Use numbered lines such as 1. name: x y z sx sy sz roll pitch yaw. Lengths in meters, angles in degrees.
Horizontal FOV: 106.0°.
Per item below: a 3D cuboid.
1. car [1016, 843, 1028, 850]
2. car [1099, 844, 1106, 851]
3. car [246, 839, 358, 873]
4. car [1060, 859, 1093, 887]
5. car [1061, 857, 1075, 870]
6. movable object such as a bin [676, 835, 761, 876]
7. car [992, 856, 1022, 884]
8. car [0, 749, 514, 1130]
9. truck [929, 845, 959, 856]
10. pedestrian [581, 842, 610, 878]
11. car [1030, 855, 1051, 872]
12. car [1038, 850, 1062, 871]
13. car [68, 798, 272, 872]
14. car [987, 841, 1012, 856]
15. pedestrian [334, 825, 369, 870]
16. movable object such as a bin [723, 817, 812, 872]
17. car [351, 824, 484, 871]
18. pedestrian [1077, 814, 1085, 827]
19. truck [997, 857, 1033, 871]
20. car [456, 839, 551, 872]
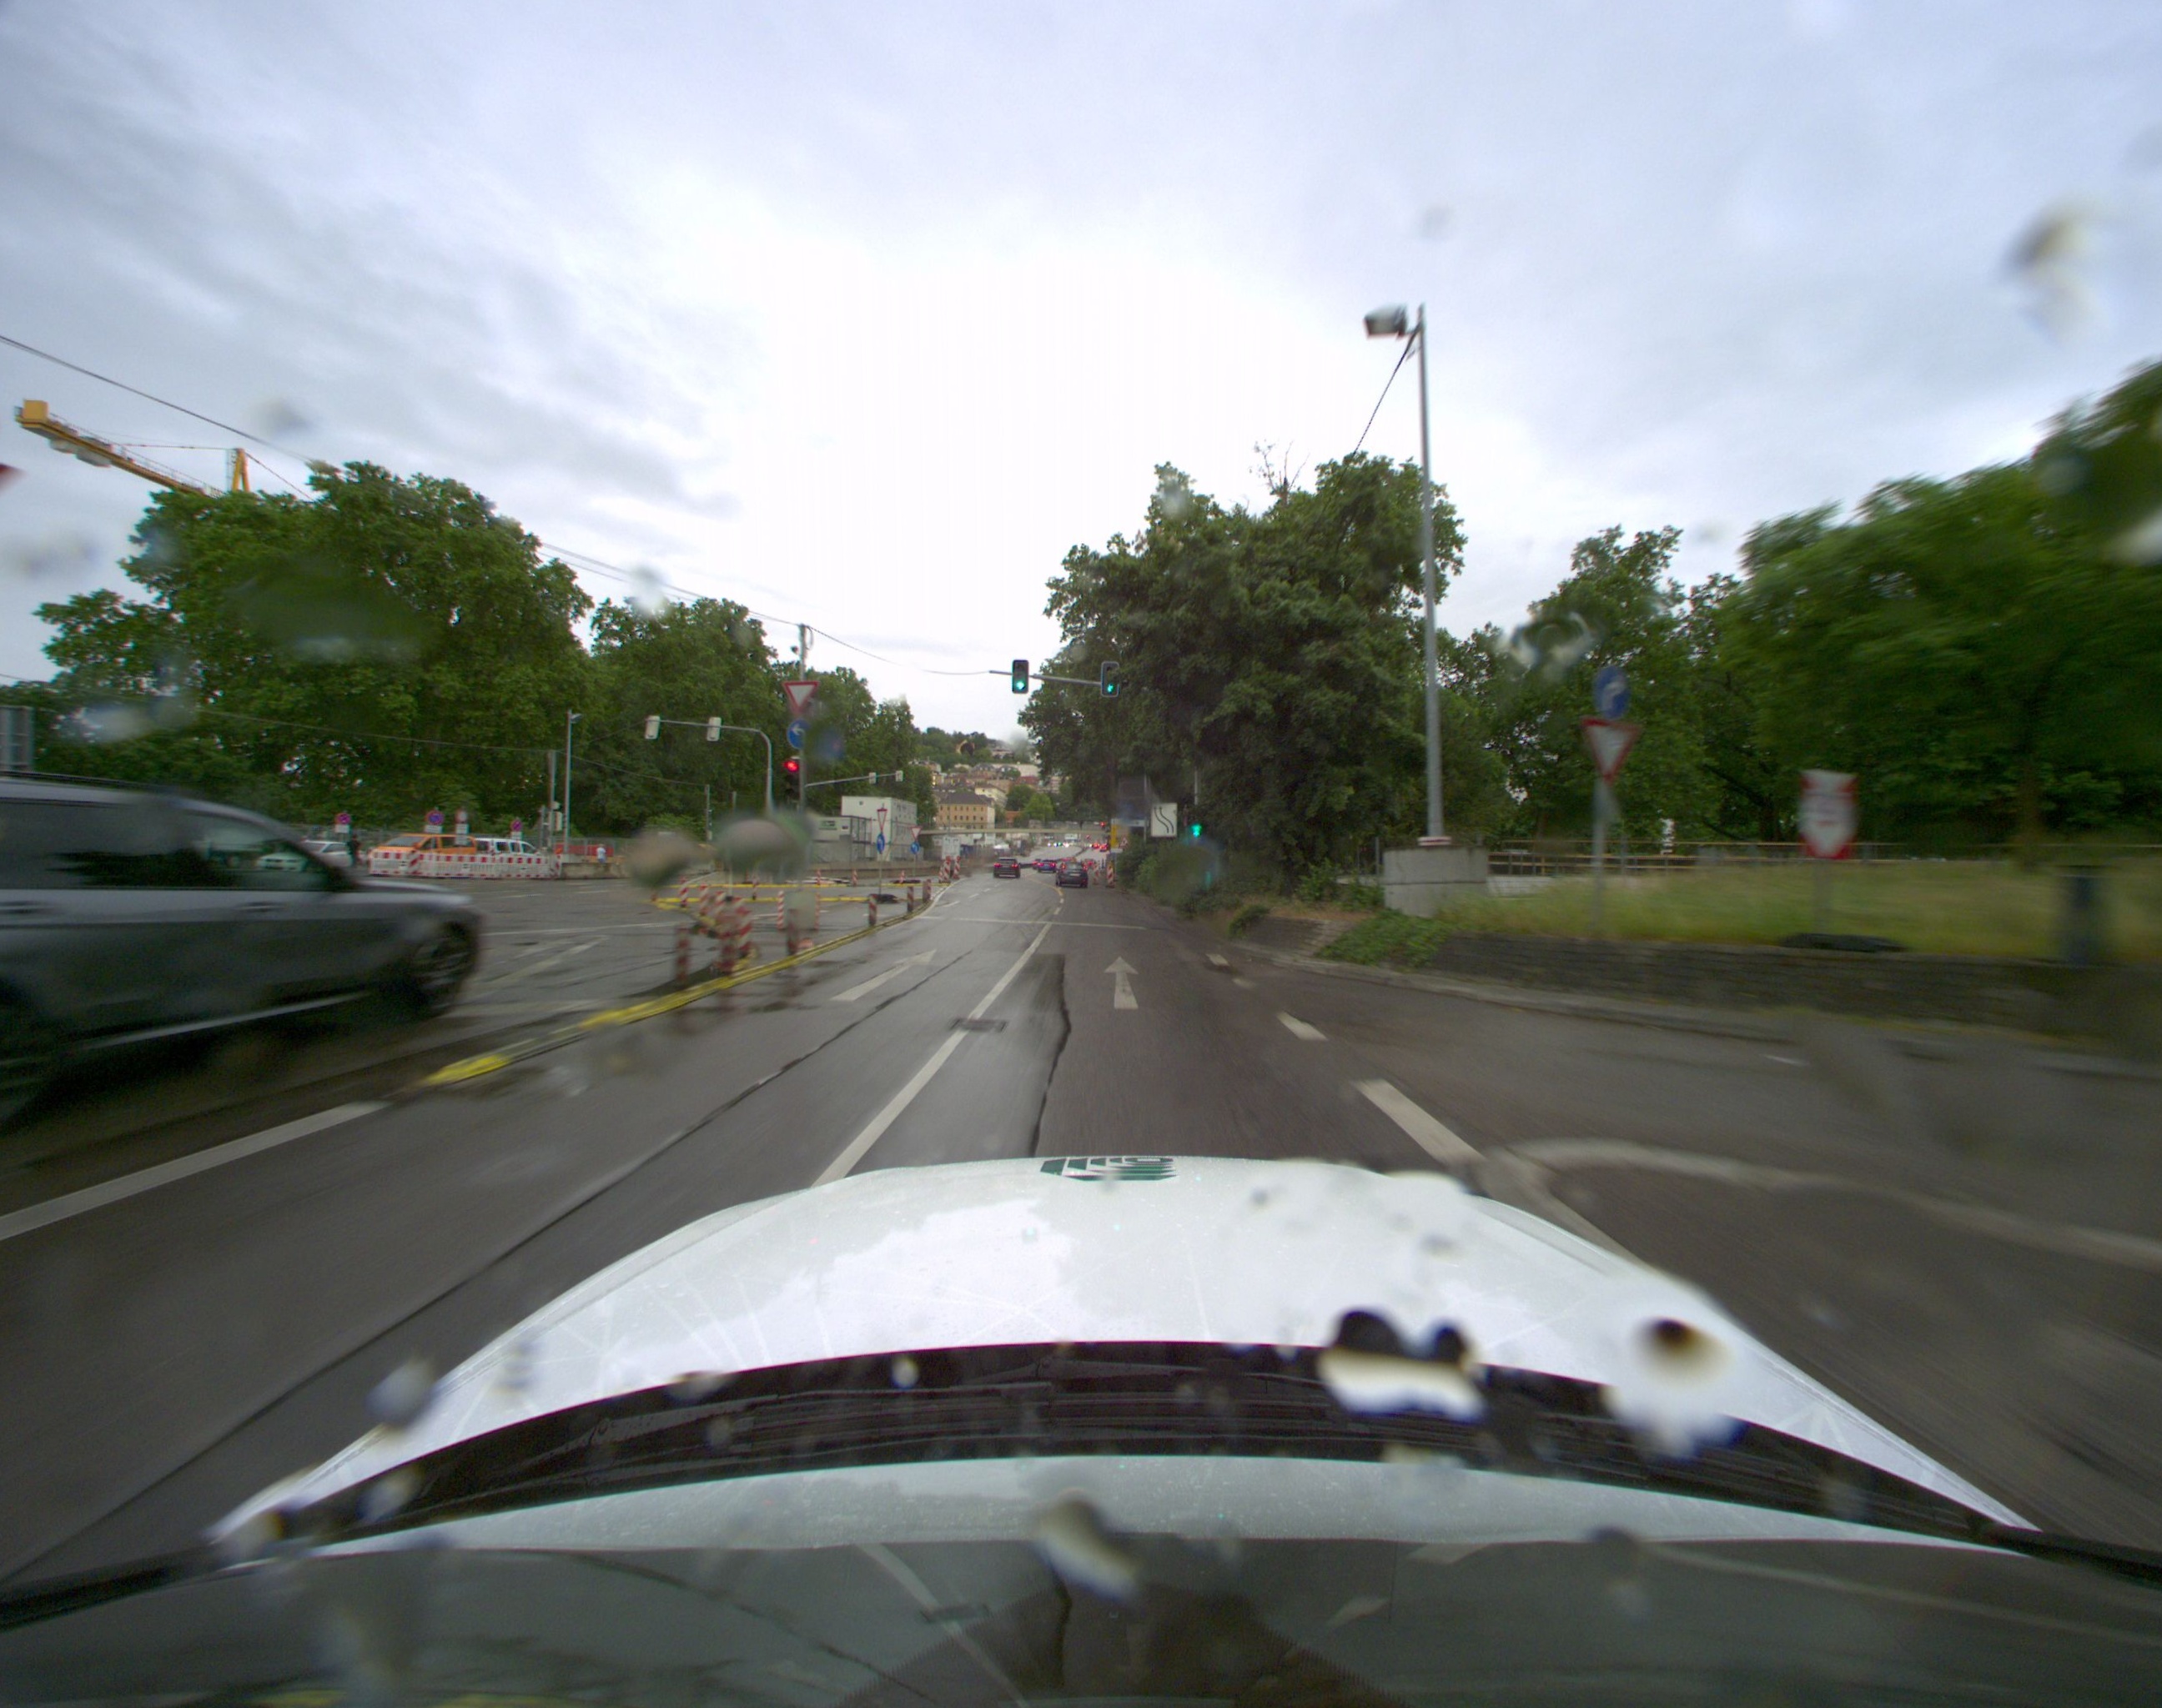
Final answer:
1. car: -14.433 -1.795 199.510 1.983 1.621 4.009 1 2 7
2. car: 5.775 -1.804 220.948 1.986 1.869 4.001 0 0 2
3. car: -34.657 0.083 36.385 1.758 1.415 3.820 0 0 -10
4. car: -0.283 1.060 46.884 1.807 1.527 3.997 0 0 -2
5. car: -2.159 1.511 133.410 2.043 2.014 4.002 0 0 2
6. movable object such as a bin: -29.126 0.141 65.798 3.918 3.128 6.390 0 0 1
7. car: -5.488 1.174 60.494 2.012 2.014 3.996 0 0 -2
8. car: -6.424 0.392 5.175 2.204 1.863 5.068 2 0 -3
9. truck: -25.738 -0.617 153.189 5.232 2.013 2.163 0 0 -2
10. pedestrian: -28.541 0.346 47.896 1.183 2.013 1.166 2 0 -19
11. car: -4.965 1.185 99.762 1.984 2.013 4.006 0 0 5
12. car: -3.168 0.659 83.895 2.096 2.050 4.003 0 0 3
13. car: -40.890 -0.786 36.901 2.266 3.066 6.168 0 0 0
14. car: -16.744 -1.094 168.138 1.974 2.875 6.089 0 0 30
15. pedestrian: -33.429 -0.297 37.339 0.918 2.013 0.737 1 0 -5
16. movable object such as a bin: -28.535 -0.800 74.824 4.732 4.803 8.361 0 0 1
17. car: -32.087 -0.284 39.649 1.988 2.100 5.578 -1 0 -2
18. pedestrian: -0.003 -5.367 131.896 1.140 2.060 1.062 0 -1 11
19. truck: -11.758 1.799 144.949 6.265 2.452 2.690 0 0 -4
20. car: -32.172 0.105 45.578 1.838 1.761 4.798 0 0 1
